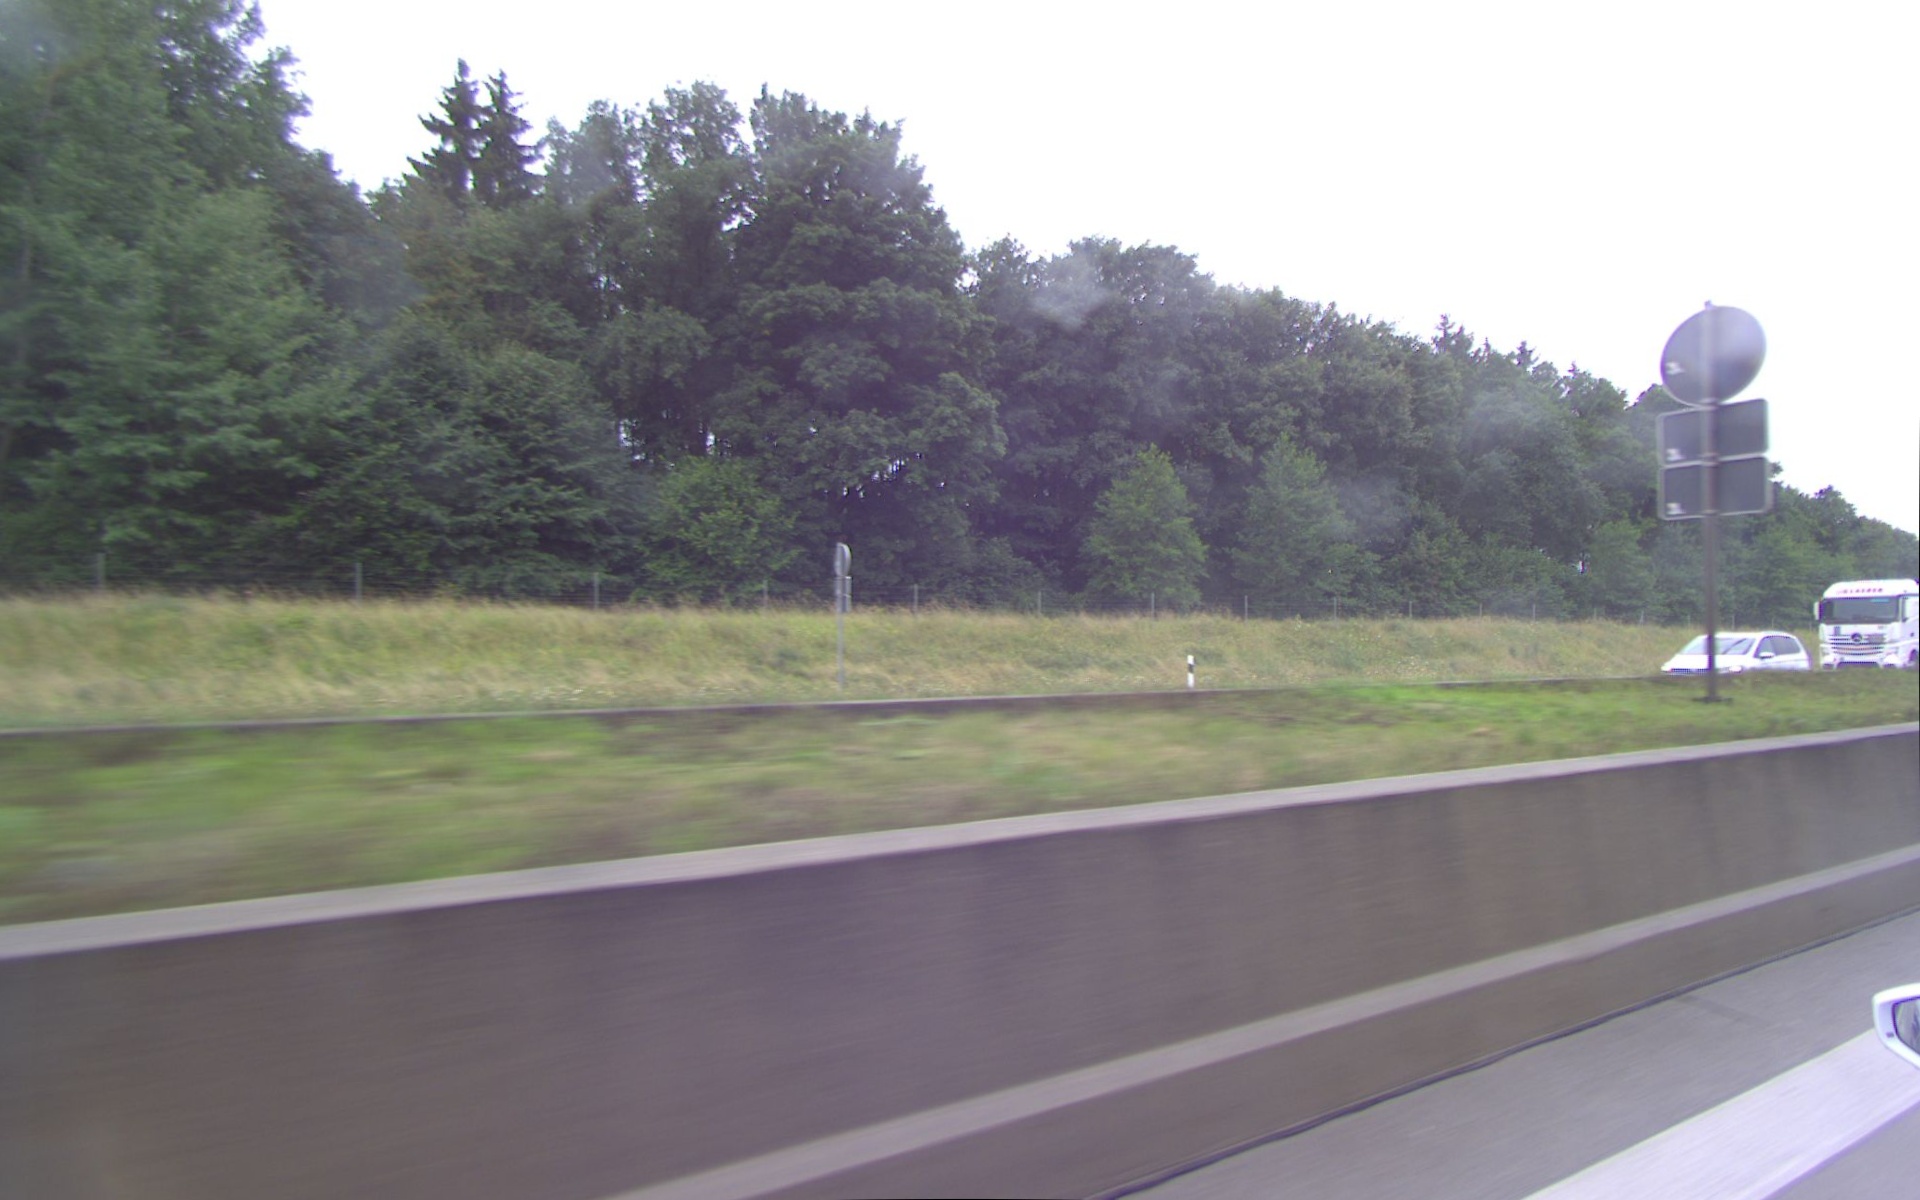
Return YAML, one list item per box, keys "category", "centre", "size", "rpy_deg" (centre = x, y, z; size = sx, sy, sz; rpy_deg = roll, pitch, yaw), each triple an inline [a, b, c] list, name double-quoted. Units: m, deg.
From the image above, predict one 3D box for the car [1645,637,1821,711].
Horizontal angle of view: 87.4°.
- category: "car"
  centre: [19.185, 1.784, 24.894]
  size: [4.508, 1.649, 1.984]
  rpy_deg: [2, -2, -31]

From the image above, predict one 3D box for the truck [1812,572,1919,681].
- category: "truck"
  centre: [35.973, 0.971, 39.061]
  size: [6.365, 3.927, 2.649]
  rpy_deg: [0, 0, -33]

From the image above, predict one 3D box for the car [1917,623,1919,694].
- category: "car"
  centre: [25.419, 1.418, 24.571]
  size: [4.507, 1.709, 1.775]
  rpy_deg: [1, -1, -31]

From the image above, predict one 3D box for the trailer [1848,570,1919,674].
- category: "trailer"
  centre: [41.202, 0.975, 42.378]
  size: [11.013, 4.024, 2.650]
  rpy_deg: [1, -2, -32]
